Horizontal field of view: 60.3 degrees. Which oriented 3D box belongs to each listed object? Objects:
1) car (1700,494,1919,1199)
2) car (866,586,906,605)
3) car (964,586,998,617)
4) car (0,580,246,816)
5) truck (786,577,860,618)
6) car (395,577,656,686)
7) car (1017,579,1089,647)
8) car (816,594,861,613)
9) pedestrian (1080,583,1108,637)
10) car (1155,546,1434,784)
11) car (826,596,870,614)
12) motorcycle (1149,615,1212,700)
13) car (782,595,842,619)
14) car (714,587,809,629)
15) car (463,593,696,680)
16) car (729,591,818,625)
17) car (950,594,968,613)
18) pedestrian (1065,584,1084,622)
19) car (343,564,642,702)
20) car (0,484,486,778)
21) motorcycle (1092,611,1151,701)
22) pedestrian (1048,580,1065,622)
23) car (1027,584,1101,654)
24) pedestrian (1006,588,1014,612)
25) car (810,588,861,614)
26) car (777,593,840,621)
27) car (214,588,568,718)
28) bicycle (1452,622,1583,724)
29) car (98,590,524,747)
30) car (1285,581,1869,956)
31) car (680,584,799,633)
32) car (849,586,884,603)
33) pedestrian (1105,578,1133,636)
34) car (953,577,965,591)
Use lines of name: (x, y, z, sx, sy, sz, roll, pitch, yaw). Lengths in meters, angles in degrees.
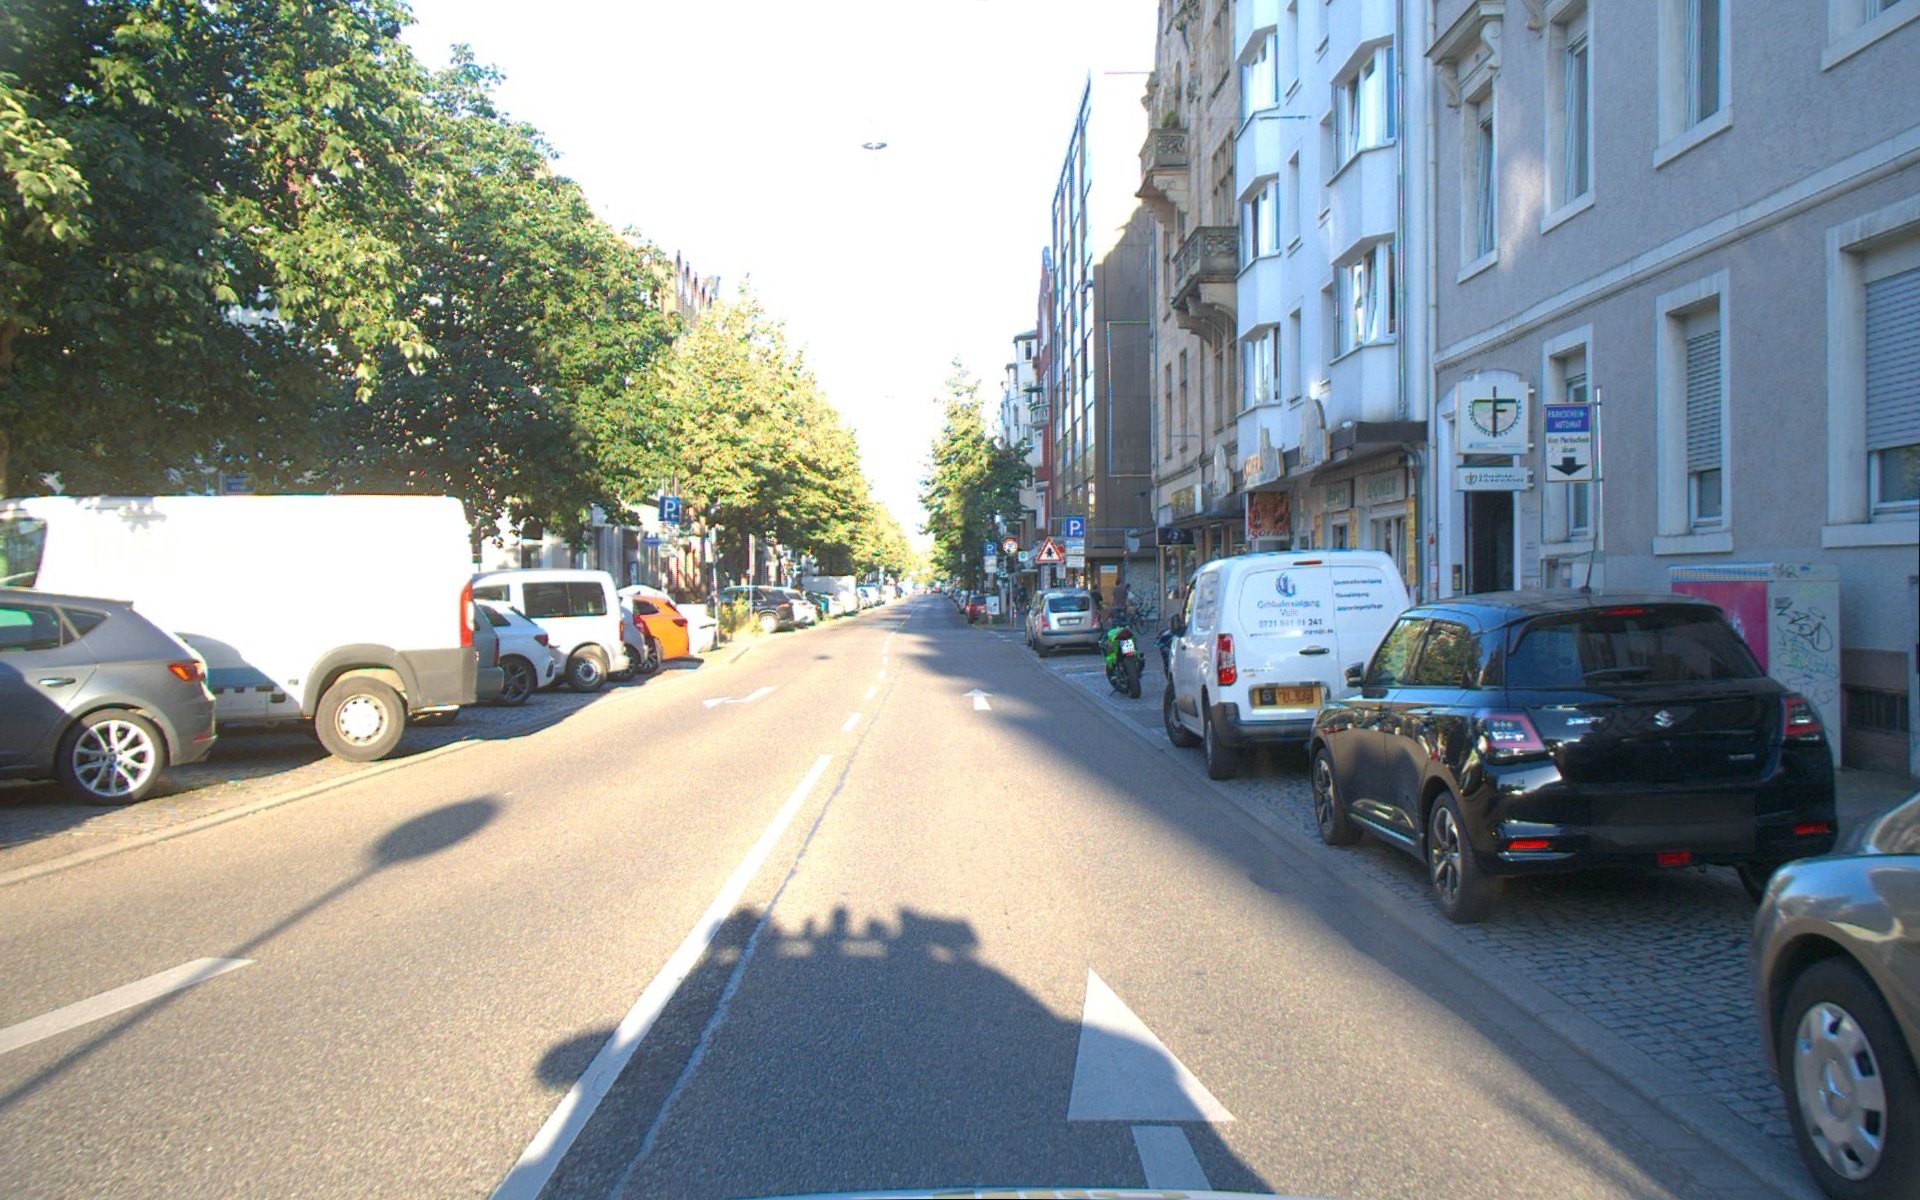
car: (3.005, 0.623, 2.744, 1.623, 1.694, 4.107, 0, 1, -2)
car: (-6.734, -0.420, 150.809, 3.664, 1.738, 2.000, 0, 1, -2)
car: (1.100, 0.075, 88.332, 1.545, 1.569, 3.394, -3, 0, -4)
car: (-7.070, 0.620, 10.978, 3.964, 1.512, 1.806, 0, 1, -41)
truck: (-9.141, -0.164, 110.772, 4.841, 2.661, 1.999, 0, 0, -2)
car: (-7.353, 0.514, 28.125, 3.957, 1.726, 1.727, 1, 0, -37)
car: (2.554, 0.316, 46.218, 1.662, 1.800, 3.999, -1, 1, -2)
car: (-10.210, 0.289, 138.931, 3.664, 1.475, 1.999, -1, 0, -2)
pedestrian: (4.205, 0.293, 52.083, 0.740, 1.669, 1.259, 0, 1, -2)
car: (2.890, 0.486, 15.171, 1.675, 1.867, 4.306, 0, 1, 0)
car: (-9.726, 0.424, 143.727, 3.664, 1.519, 1.999, 0, 0, -2)
motorcycle: (3.200, 0.811, 24.189, 0.576, 1.143, 2.210, 0, 1, -1)
car: (-9.341, 0.424, 104.466, 3.664, 1.475, 1.999, 0, 0, -2)
car: (-8.532, 0.337, 71.320, 3.909, 1.738, 1.832, 0, 1, -2)
car: (-7.248, 0.651, 31.548, 3.946, 1.512, 1.980, -1, 0, -31)
car: (-8.918, 0.382, 79.373, 4.090, 1.533, 1.999, 1, 0, -2)
car: (-0.061, 0.265, 120.317, 1.182, 1.323, 2.659, 0, 0, -4)
pedestrian: (5.223, 0.149, 75.690, 0.750, 1.718, 0.785, -1, 1, -3)
car: (-6.973, 0.441, 24.835, 3.957, 1.911, 1.846, 0, 1, -37)
car: (-6.699, 0.242, 14.543, 4.546, 2.290, 2.183, 0, 0, -28)
motorcycle: (2.392, 0.806, 24.700, 0.576, 1.221, 2.210, -2, 1, -1)
pedestrian: (4.407, 0.061, 75.713, 0.700, 1.898, 0.679, -1, 0, -4)
car: (2.571, 0.446, 41.509, 1.645, 1.588, 4.001, -2, 1, 1)
pedestrian: (3.482, -0.002, 116.165, 0.523, 1.650, 0.534, 0, 0, -1)
car: (-9.130, 0.096, 121.511, 3.664, 1.891, 1.999, 0, 0, -2)
car: (-9.089, 0.419, 99.363, 3.664, 1.624, 1.999, 0, 0, -2)
car: (-7.294, 0.628, 21.364, 3.961, 1.518, 1.824, 1, 0, -40)
bicycle: (5.891, 0.746, 17.556, 0.447, 1.029, 1.706, 0, -1, -15)
car: (-7.005, 0.652, 18.079, 3.968, 1.493, 1.853, 0, 1, -43)
car: (2.990, 0.695, 8.924, 1.633, 1.571, 3.882, 0, 1, -1)
car: (-8.558, 0.327, 64.516, 4.359, 1.867, 2.033, 0, 0, -2)
car: (-10.059, -0.564, 177.429, 3.664, 1.738, 2.000, 0, 1, -2)
pedestrian: (5.009, 0.214, 52.199, 0.740, 1.798, 1.222, 0, 0, -2)
car: (-0.114, -1.866, 190.957, 1.283, 1.628, 2.659, 0, 0, -4)
